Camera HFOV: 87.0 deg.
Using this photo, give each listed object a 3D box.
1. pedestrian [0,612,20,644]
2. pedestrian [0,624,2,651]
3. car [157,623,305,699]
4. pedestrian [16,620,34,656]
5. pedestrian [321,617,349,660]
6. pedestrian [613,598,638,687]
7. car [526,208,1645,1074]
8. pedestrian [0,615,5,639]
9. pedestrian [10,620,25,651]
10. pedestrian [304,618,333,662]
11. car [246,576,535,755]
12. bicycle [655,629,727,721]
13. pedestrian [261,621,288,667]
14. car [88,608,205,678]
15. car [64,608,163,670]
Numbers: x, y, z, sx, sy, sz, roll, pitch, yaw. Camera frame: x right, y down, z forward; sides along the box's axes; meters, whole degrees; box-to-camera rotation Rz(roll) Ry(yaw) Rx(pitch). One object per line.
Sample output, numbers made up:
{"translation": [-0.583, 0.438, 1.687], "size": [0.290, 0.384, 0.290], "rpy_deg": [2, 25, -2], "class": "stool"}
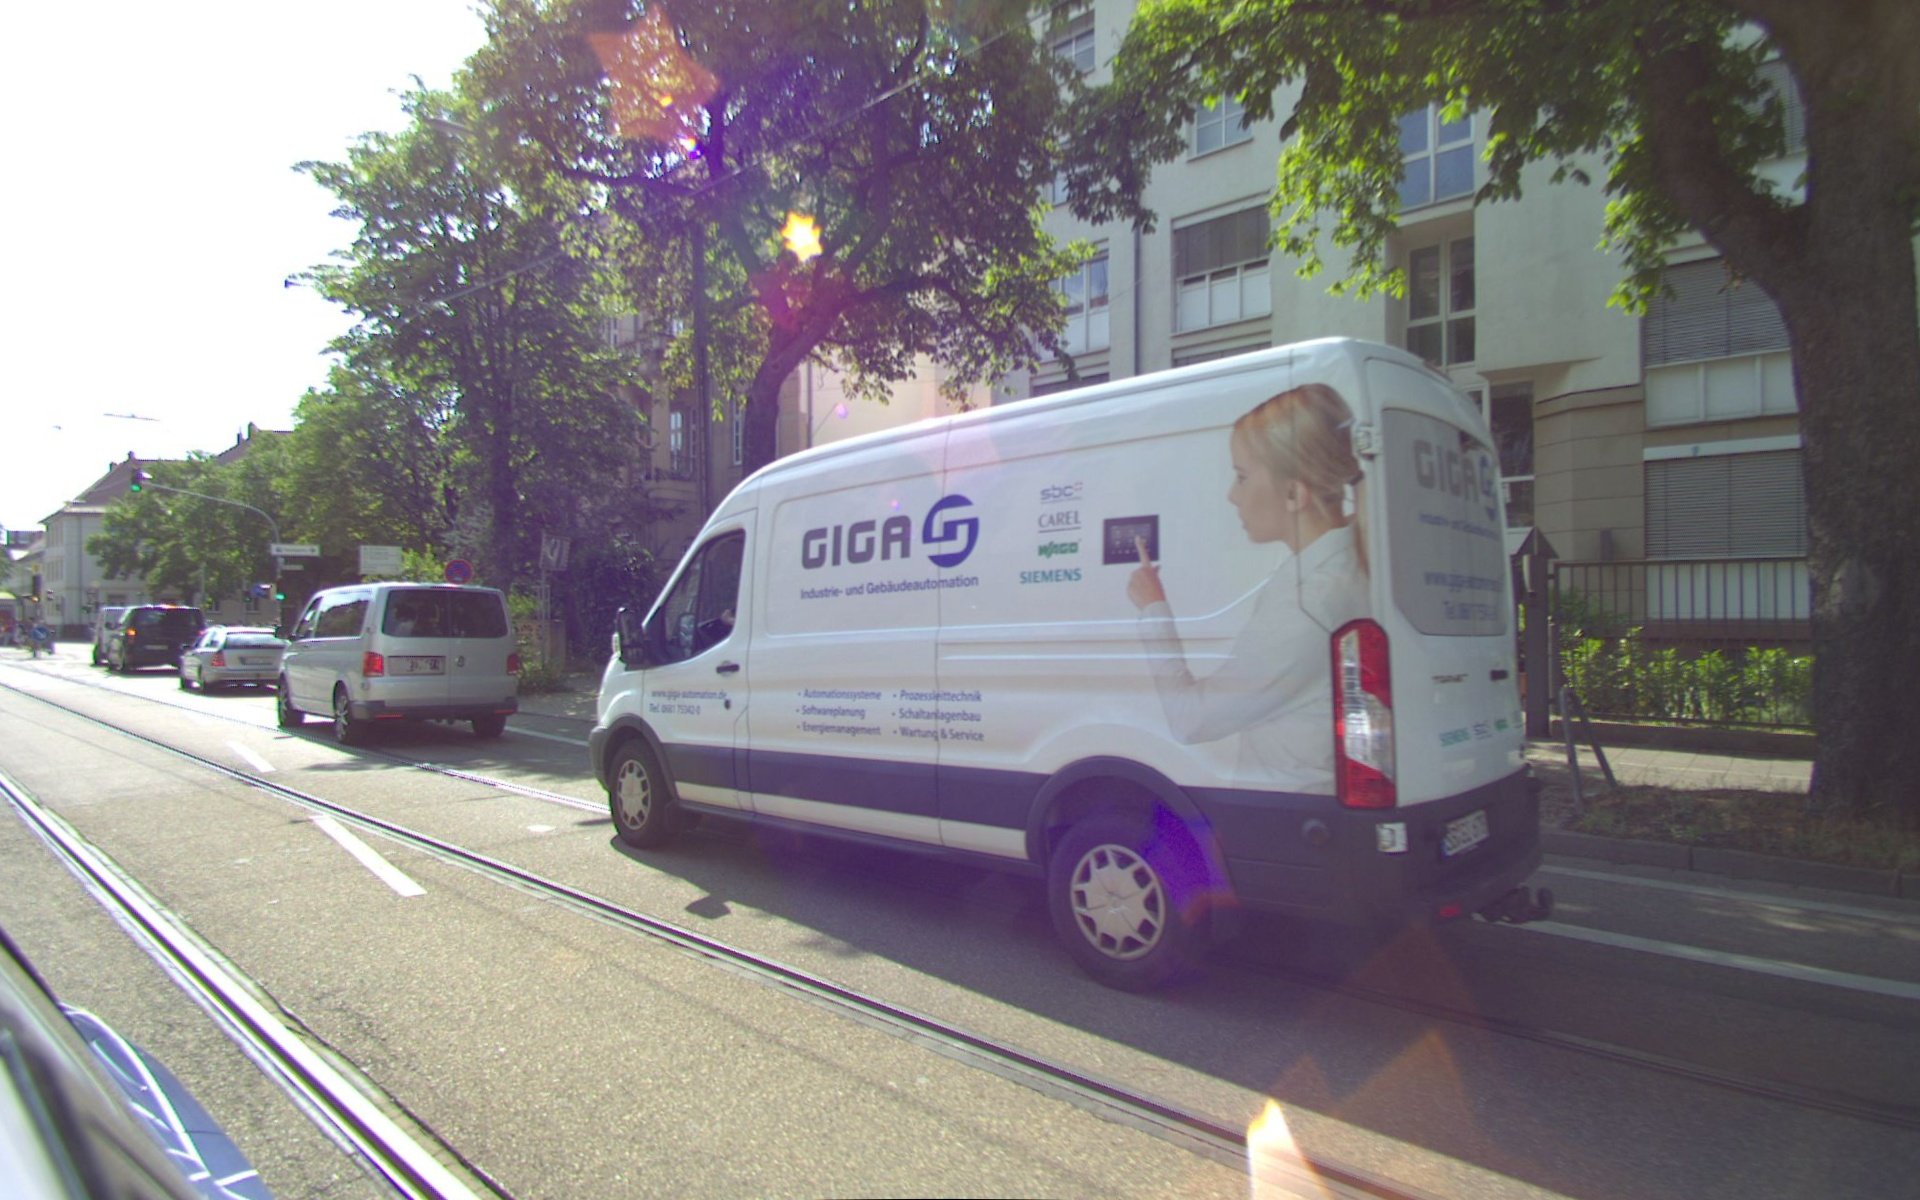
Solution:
{"translation": [-51.028, 1.497, 54.361], "size": [0.745, 1.669, 0.467], "rpy_deg": [-1, -8, 41], "class": "pedestrian"}
{"translation": [-52.349, 2.018, 54.827], "size": [0.691, 1.468, 0.523], "rpy_deg": [-1, -3, 40], "class": "pedestrian"}
{"translation": [-16.401, 1.316, 22.682], "size": [4.480, 1.491, 1.675], "rpy_deg": [-1, -3, 41], "class": "car"}
{"translation": [-41.937, 1.706, 45.399], "size": [0.516, 1.554, 0.531], "rpy_deg": [-4, -4, 41], "class": "pedestrian"}
{"translation": [-24.640, 1.518, 39.900], "size": [0.722, 1.669, 0.607], "rpy_deg": [-2, 0, 28], "class": "pedestrian"}
{"translation": [-7.787, 0.974, 23.568], "size": [0.477, 2.029, 0.808], "rpy_deg": [-1, 1, -16], "class": "pedestrian"}
{"translation": [0.009, 0.207, 5.951], "size": [6.362, 2.526, 2.291], "rpy_deg": [-2, -2, 42], "class": "car"}
{"translation": [-54.096, 1.532, 56.779], "size": [0.405, 1.347, 0.598], "rpy_deg": [0, -3, 35], "class": "pedestrian"}
{"translation": [-46.868, 1.766, 50.301], "size": [0.703, 1.515, 0.423], "rpy_deg": [-1, -3, 41], "class": "pedestrian"}
{"translation": [-25.551, 1.590, 40.325], "size": [0.845, 1.711, 0.618], "rpy_deg": [-1, 1, 29], "class": "pedestrian"}
{"translation": [-7.856, 0.805, 13.692], "size": [5.180, 1.978, 1.964], "rpy_deg": [-2, -3, 44], "class": "car"}
{"translation": [-4.348, 1.184, 16.510], "size": [0.612, 1.319, 2.057], "rpy_deg": [-1, 0, 0], "class": "bicycle"}
{"translation": [-25.615, 1.646, 37.794], "size": [0.748, 1.669, 0.516], "rpy_deg": [-1, 1, 28], "class": "pedestrian"}
{"translation": [-24.466, 1.258, 30.378], "size": [5.123, 1.932, 1.906], "rpy_deg": [-1, -4, 43], "class": "car"}
{"translation": [-29.881, 1.314, 35.662], "size": [5.088, 2.010, 1.972], "rpy_deg": [0, -1, 42], "class": "car"}
